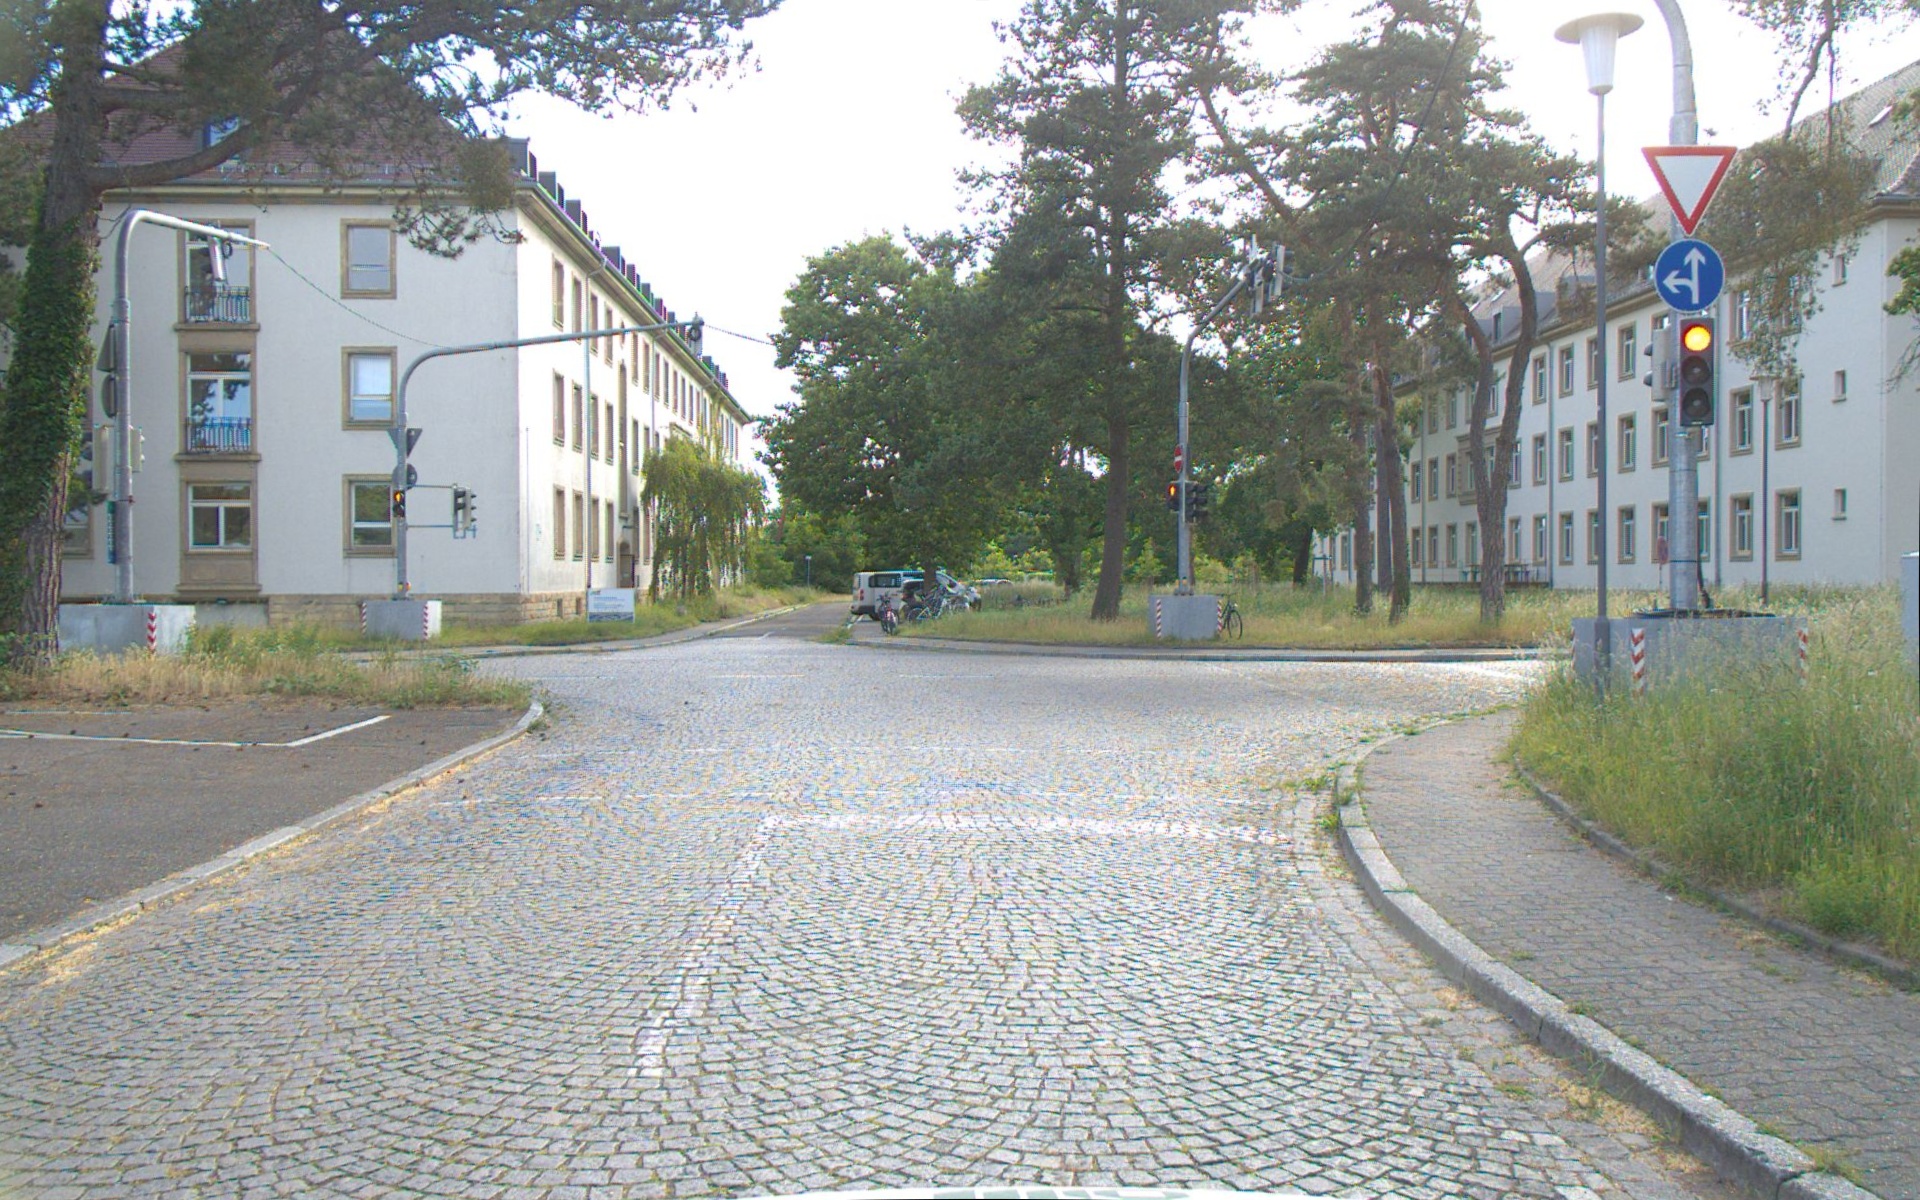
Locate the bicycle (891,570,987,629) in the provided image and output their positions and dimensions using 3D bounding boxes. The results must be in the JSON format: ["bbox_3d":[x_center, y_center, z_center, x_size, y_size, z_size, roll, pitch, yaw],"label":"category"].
[{"bbox_3d":[-0.629,-0.032,49.374,2.725,1.723,1.118,0,1,-10],"label":"bicycle"}]

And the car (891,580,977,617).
[{"bbox_3d":[-1.007,-0.076,62.564,3.079,1.378,1.617,0,1,-8],"label":"car"}]

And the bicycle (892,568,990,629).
[{"bbox_3d":[-0.559,-0.046,48.182,2.723,1.723,1.118,0,1,-8],"label":"bicycle"}]

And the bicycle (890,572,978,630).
[{"bbox_3d":[-0.816,0.025,52.934,2.718,1.723,1.120,2,0,2],"label":"bicycle"}]

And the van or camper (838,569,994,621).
[{"bbox_3d":[-1.757,-0.236,66.111,5.934,1.983,1.991,-1,1,-16],"label":"van or camper"}]

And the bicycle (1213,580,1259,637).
[{"bbox_3d":[6.099,0.168,36.657,0.709,1.189,2.738,1,0,4],"label":"bicycle"}]

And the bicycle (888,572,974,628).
[{"bbox_3d":[-0.948,-0.005,54.268,2.719,1.723,1.120,2,0,-1],"label":"bicycle"}]

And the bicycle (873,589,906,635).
[{"bbox_3d":[-1.865,0.290,43.848,0.711,1.127,2.462,-5,0,-1],"label":"bicycle"}]
